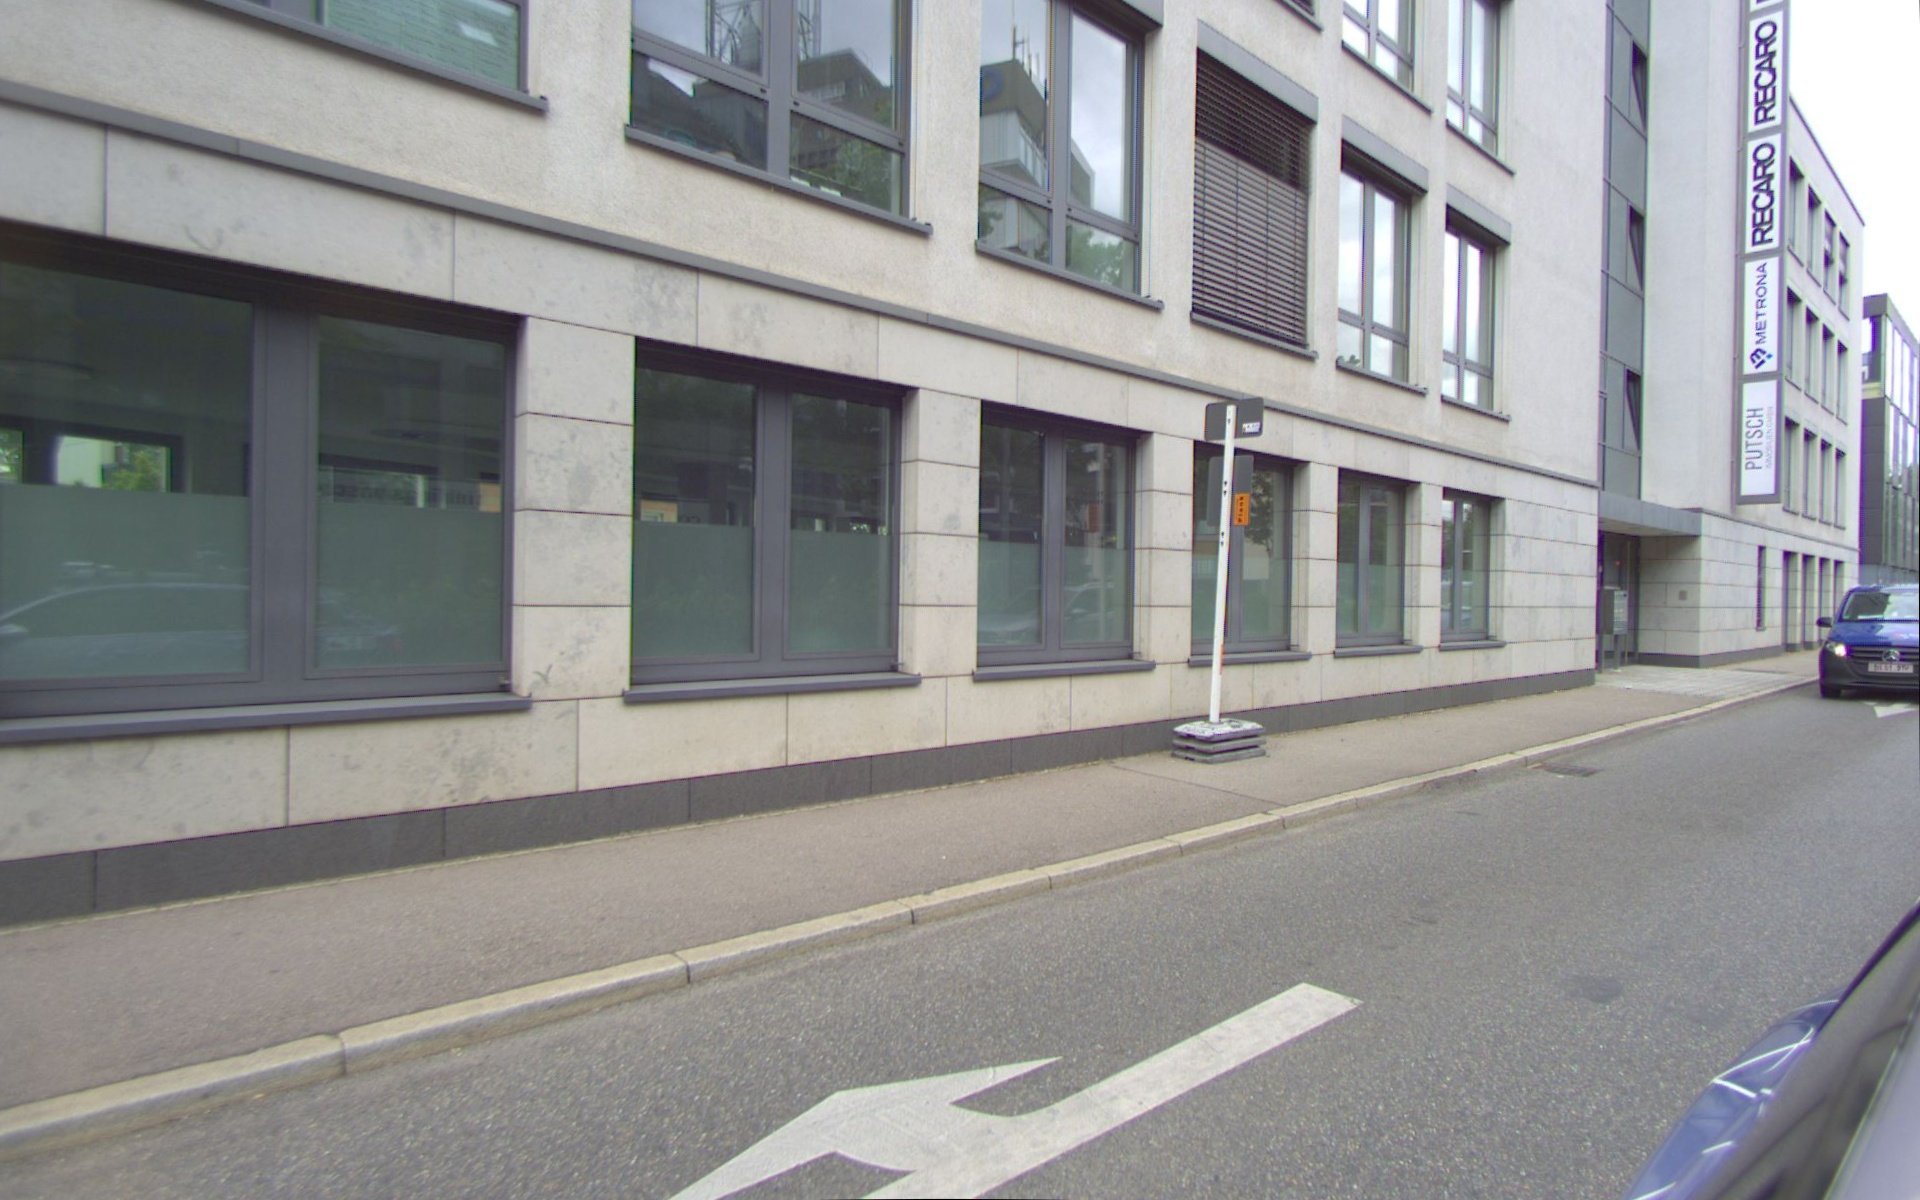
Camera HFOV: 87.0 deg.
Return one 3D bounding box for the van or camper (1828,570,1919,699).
[{"bbox_3d":[16.247,0.512,16.954,4.944,1.935,1.863,0,1,-41],"label":"van or camper"}]
